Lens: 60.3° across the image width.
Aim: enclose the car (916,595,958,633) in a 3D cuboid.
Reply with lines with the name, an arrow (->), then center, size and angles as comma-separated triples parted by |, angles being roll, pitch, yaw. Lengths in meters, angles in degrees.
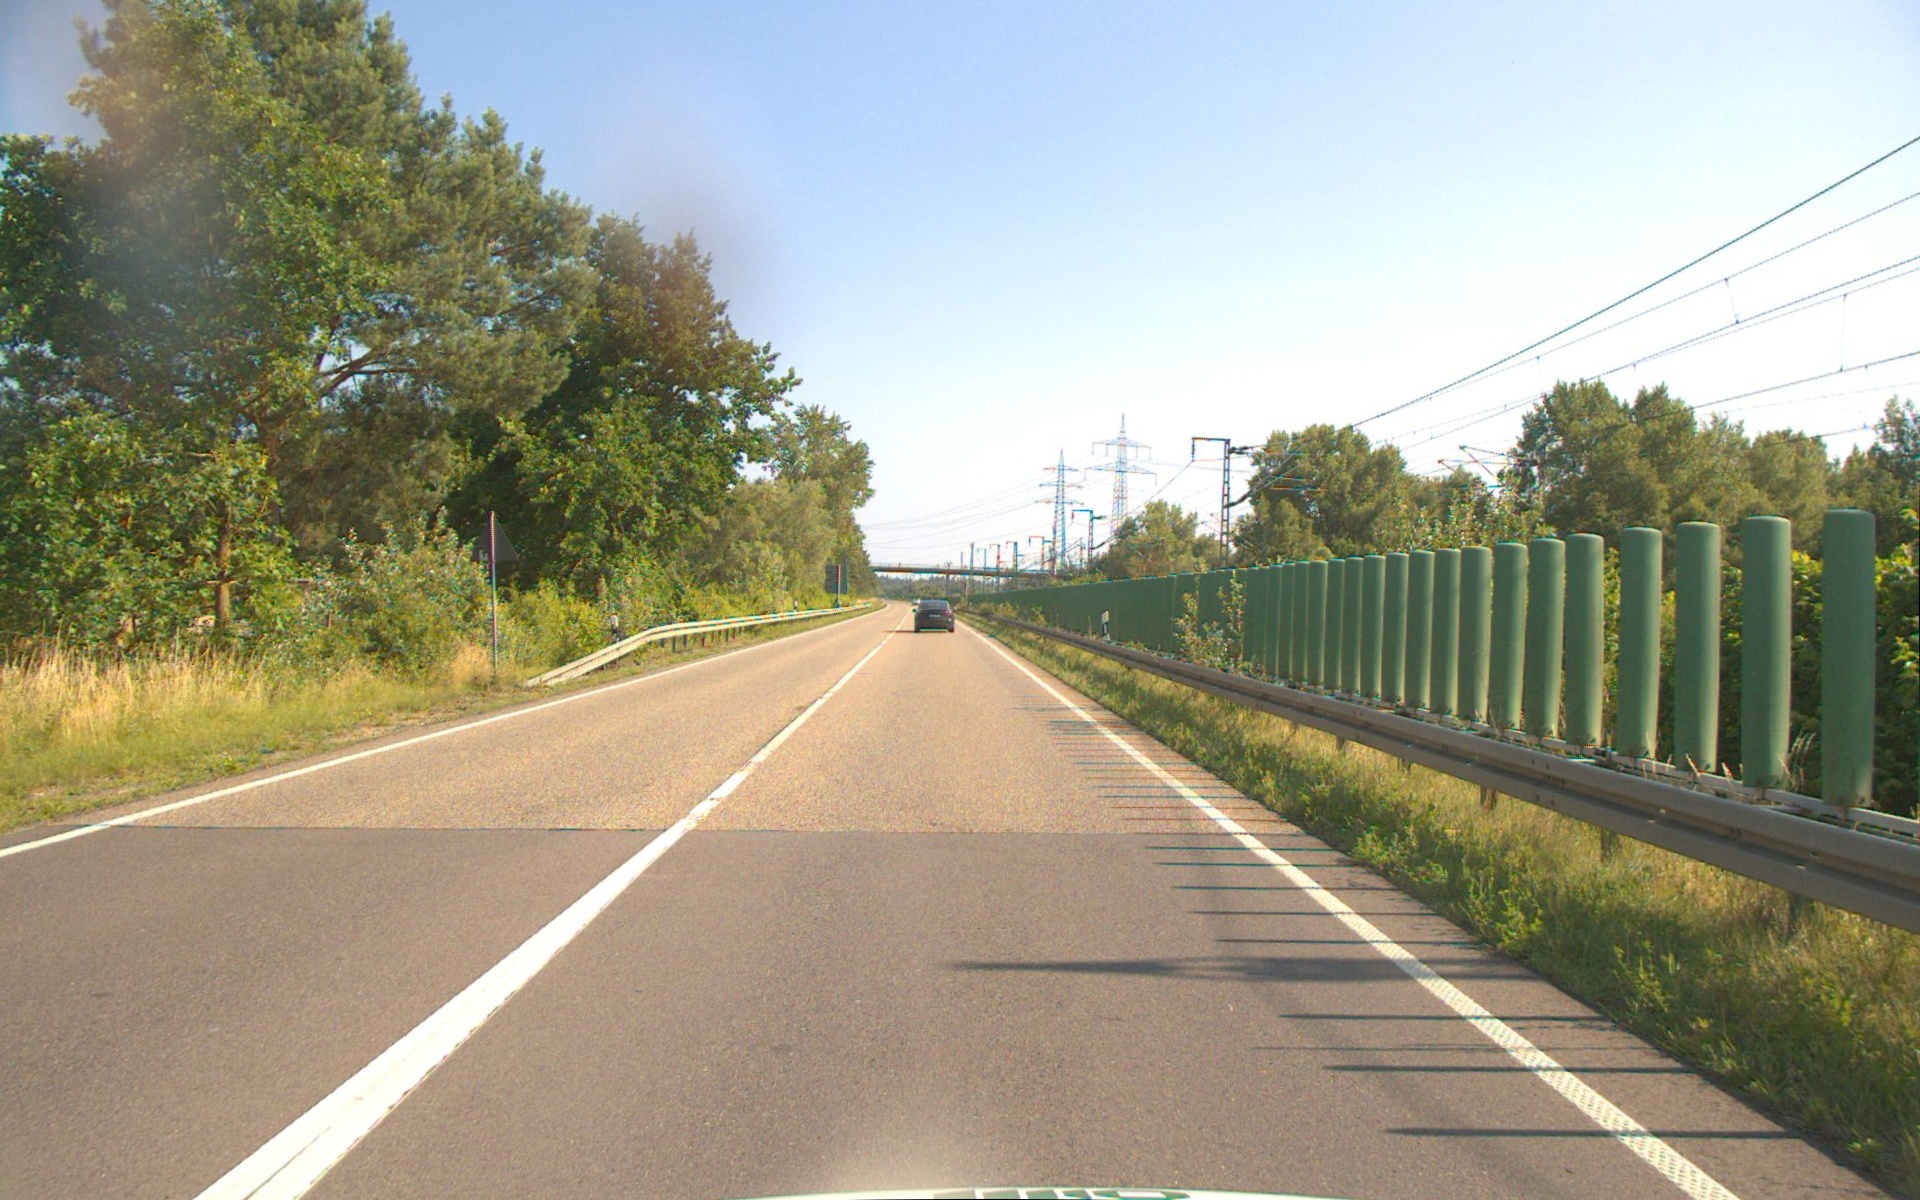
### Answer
car -> -1.100, 0.632, 75.976 | 1.821, 1.670, 3.998 | -1, 0, -2
